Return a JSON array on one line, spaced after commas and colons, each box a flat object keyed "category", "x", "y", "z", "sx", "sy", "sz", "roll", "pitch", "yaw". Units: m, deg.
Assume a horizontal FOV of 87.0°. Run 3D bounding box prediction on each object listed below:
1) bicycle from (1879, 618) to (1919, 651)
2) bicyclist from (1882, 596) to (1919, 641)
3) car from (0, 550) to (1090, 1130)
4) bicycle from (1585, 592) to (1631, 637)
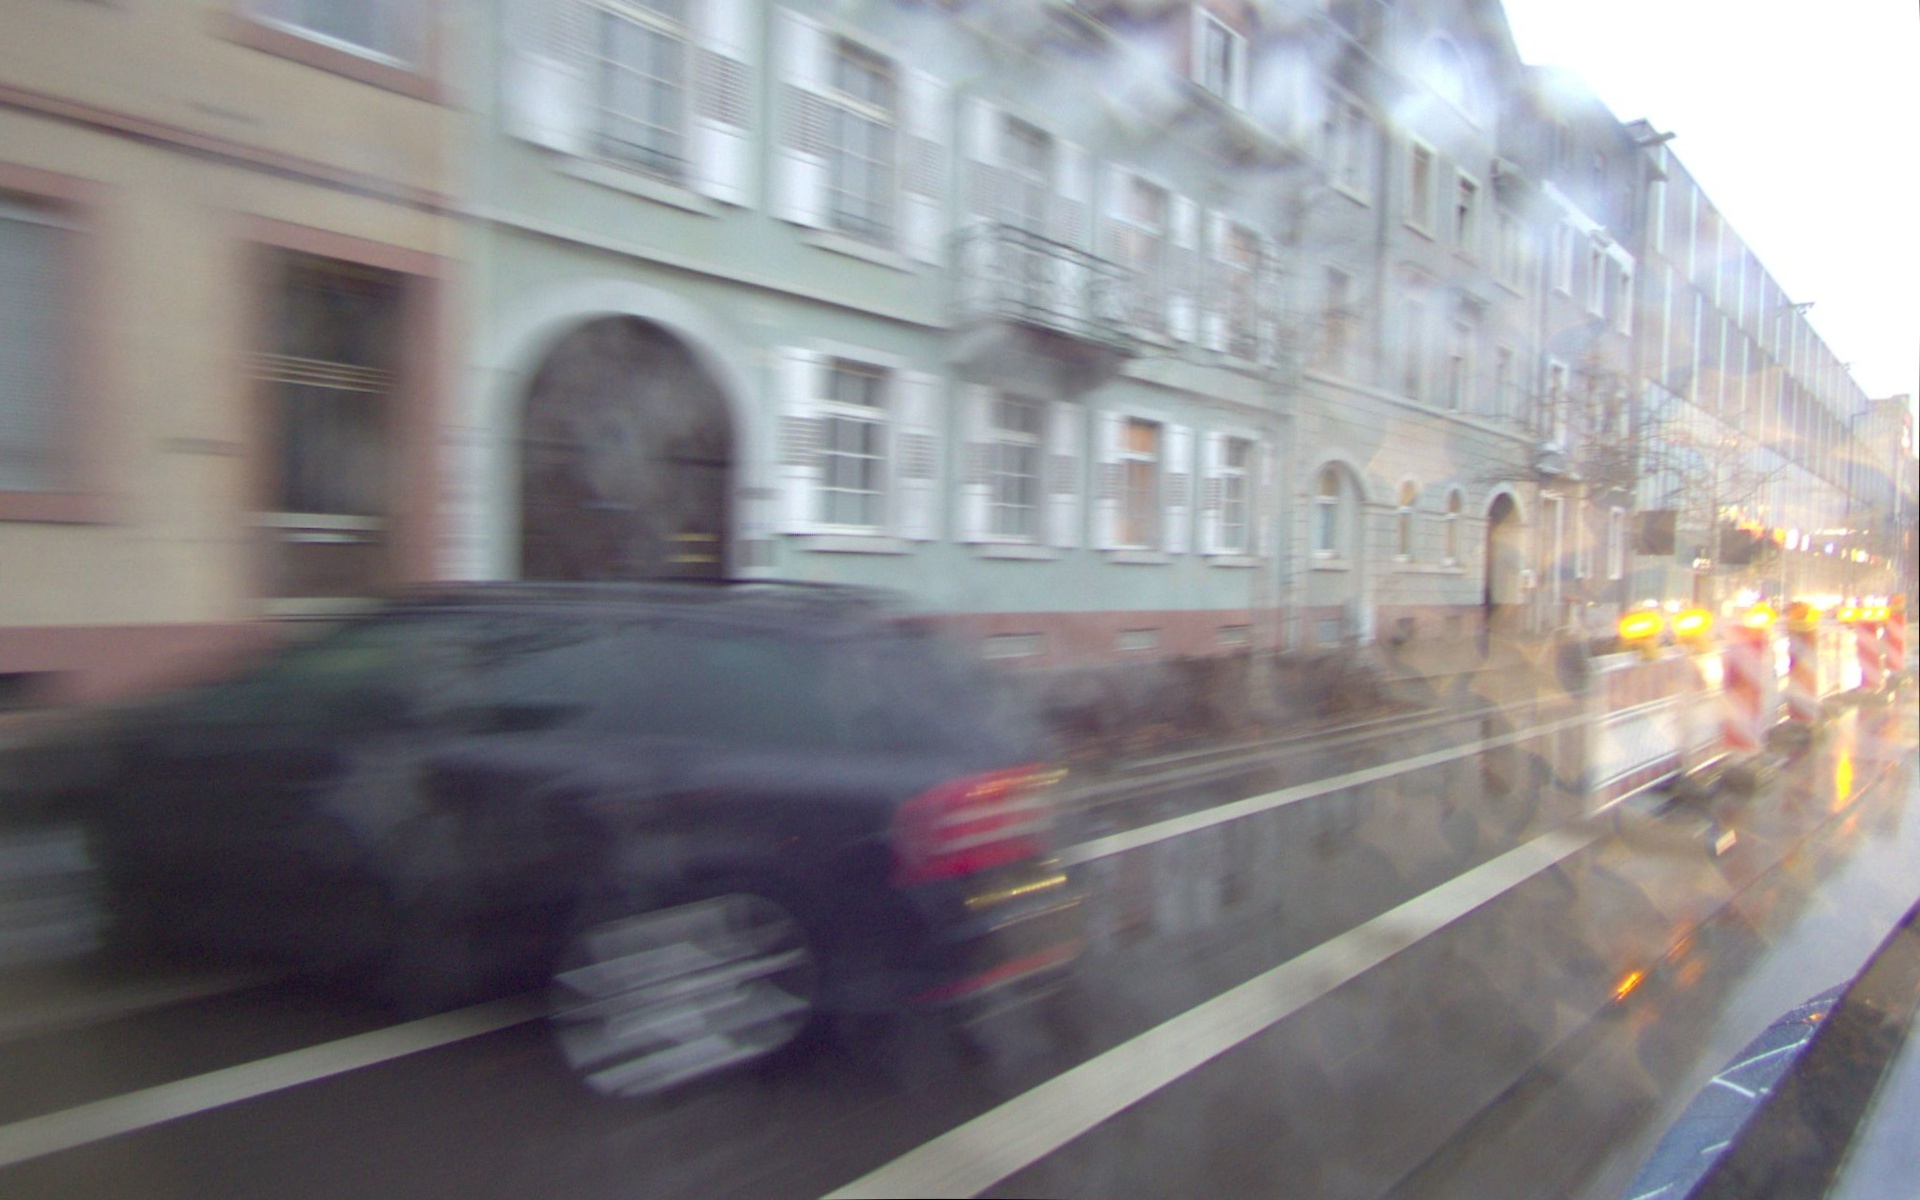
[{"category": "bicycle", "x": 31.981, "y": 1.160, "z": 34.346, "sx": 2.201, "sy": 1.012, "sz": 0.944, "roll": 0, "pitch": 1, "yaw": -42}, {"category": "bicyclist", "x": 32.016, "y": 0.600, "z": 34.362, "sx": 1.048, "sy": 1.481, "sz": 0.944, "roll": 0, "pitch": 1, "yaw": -41}, {"category": "car", "x": -1.575, "y": 0.605, "z": 4.053, "sx": 4.031, "sy": 1.537, "sz": 1.901, "roll": 1, "pitch": 1, "yaw": 12}, {"category": "bicycle", "x": 19.330, "y": 0.407, "z": 30.179, "sx": 1.874, "sy": 1.236, "sz": 0.683, "roll": -1, "pitch": 5, "yaw": -44}]
